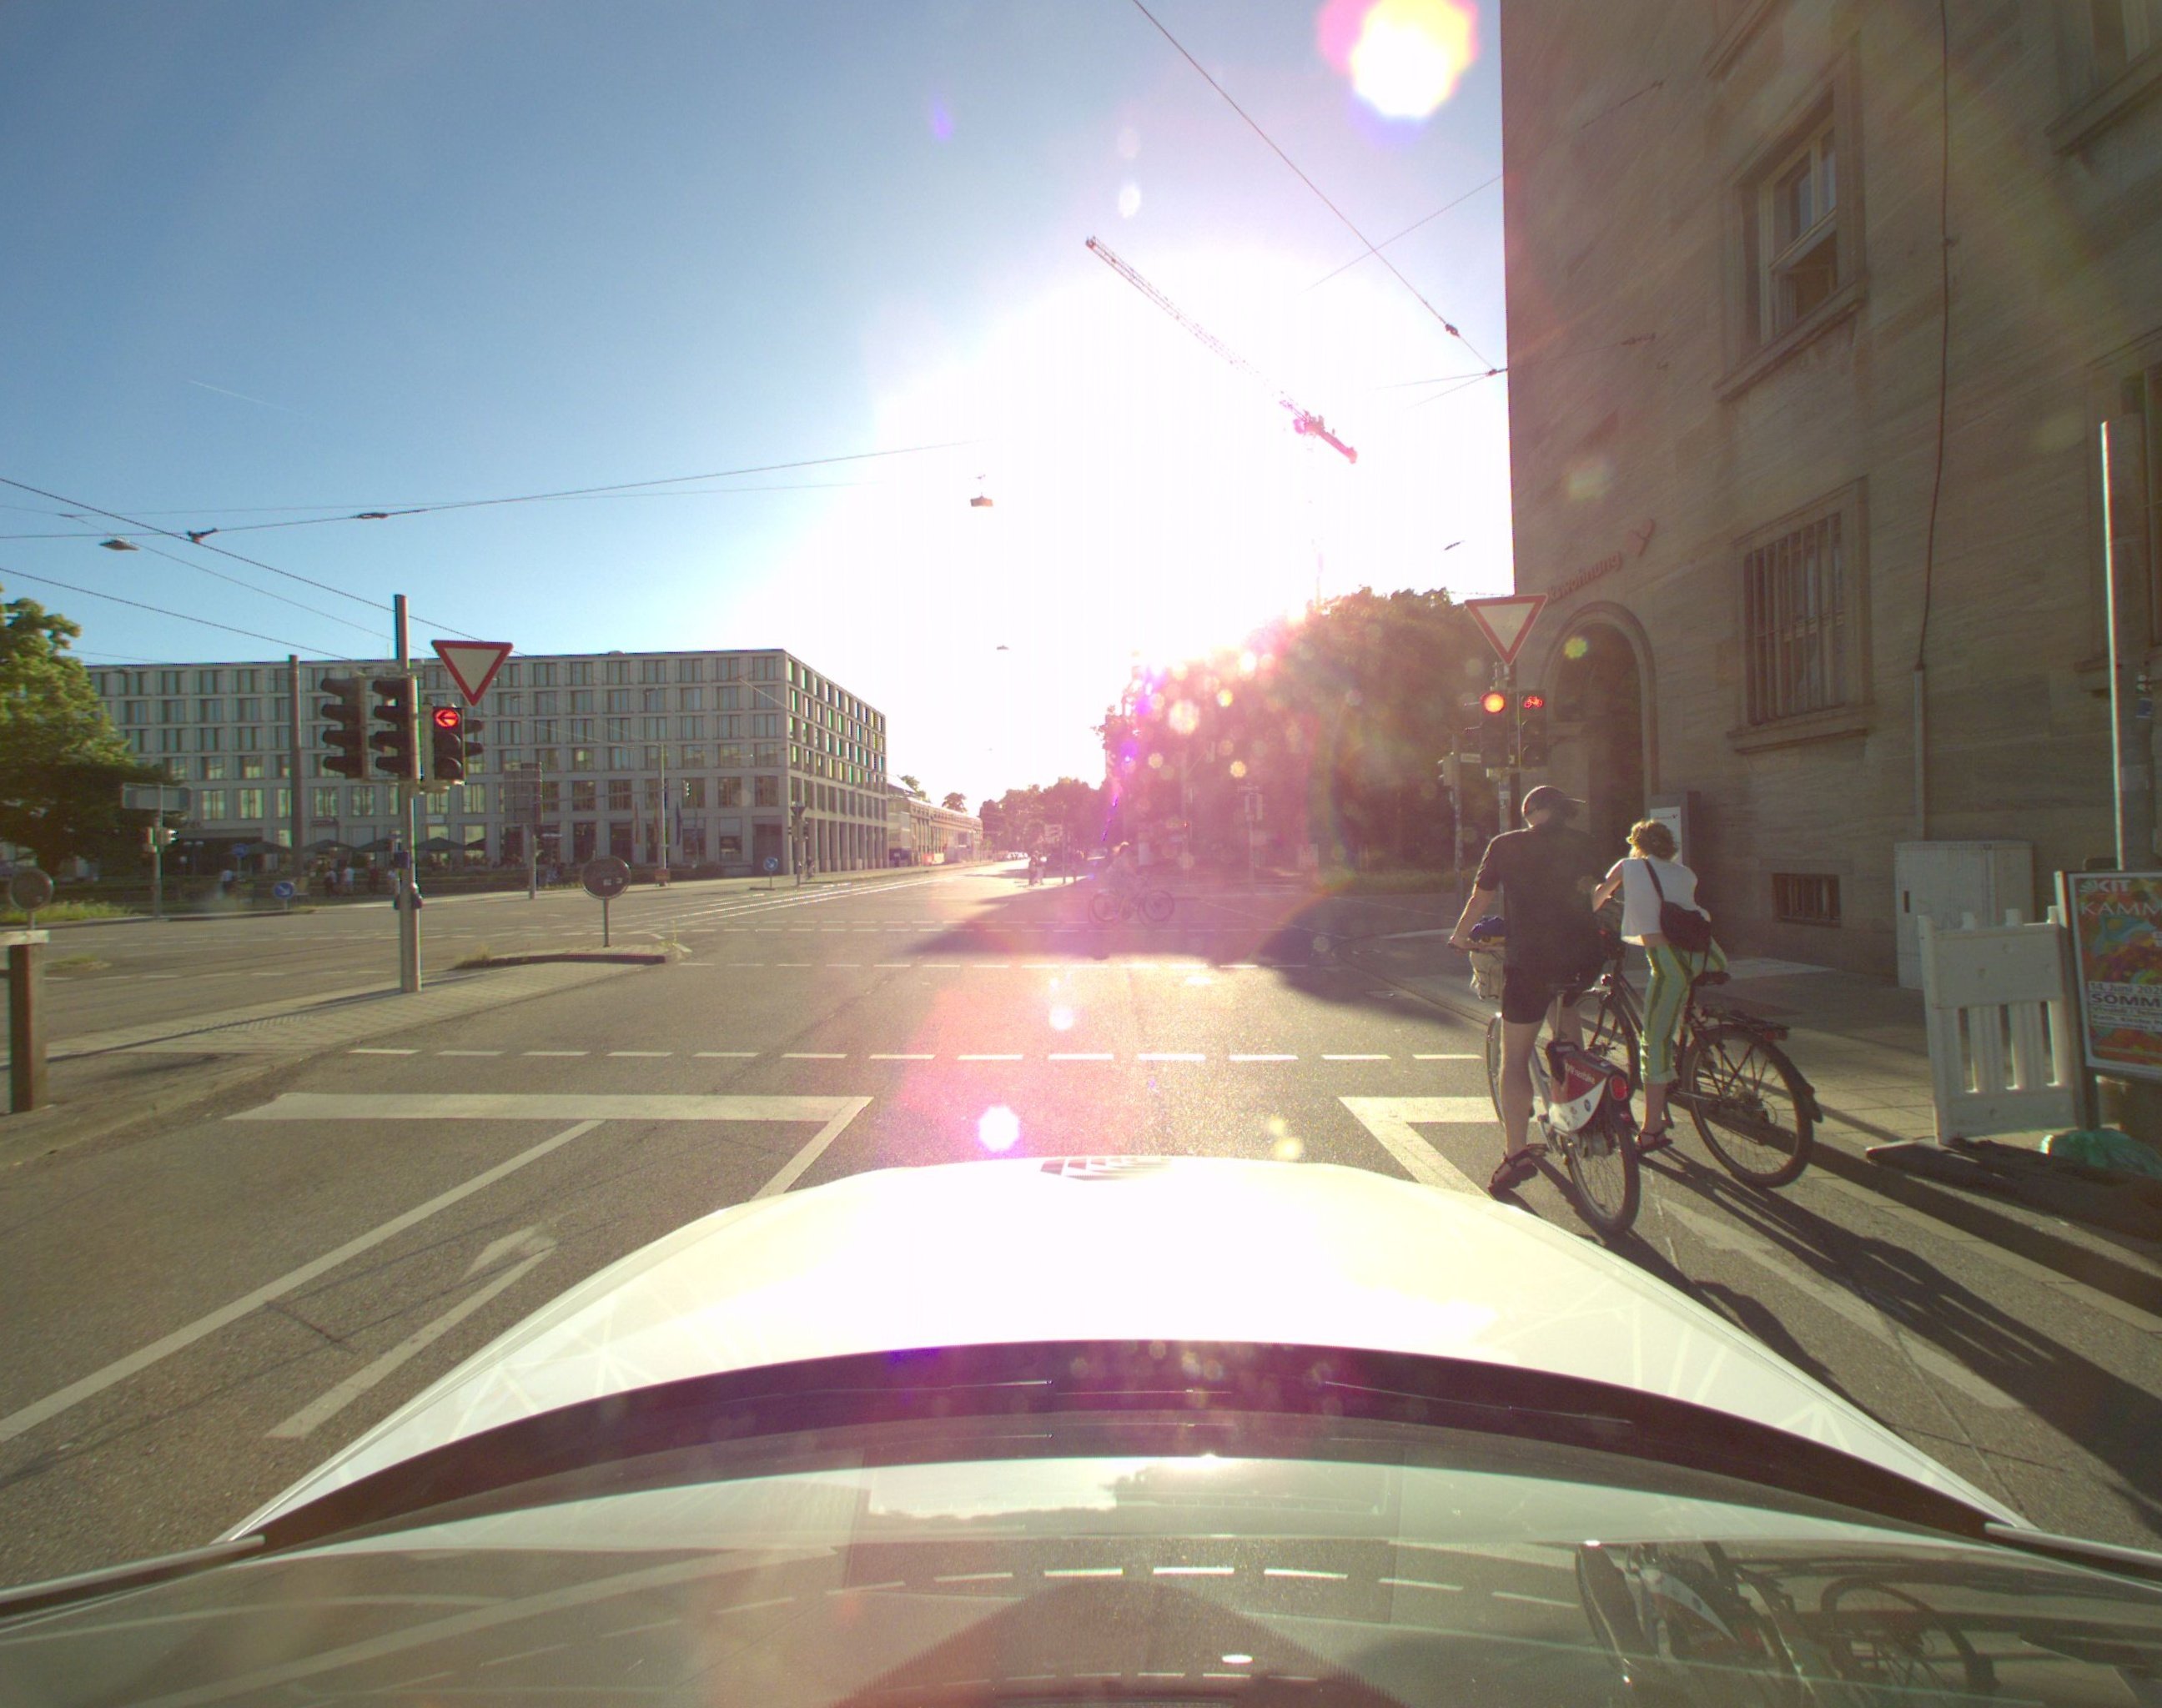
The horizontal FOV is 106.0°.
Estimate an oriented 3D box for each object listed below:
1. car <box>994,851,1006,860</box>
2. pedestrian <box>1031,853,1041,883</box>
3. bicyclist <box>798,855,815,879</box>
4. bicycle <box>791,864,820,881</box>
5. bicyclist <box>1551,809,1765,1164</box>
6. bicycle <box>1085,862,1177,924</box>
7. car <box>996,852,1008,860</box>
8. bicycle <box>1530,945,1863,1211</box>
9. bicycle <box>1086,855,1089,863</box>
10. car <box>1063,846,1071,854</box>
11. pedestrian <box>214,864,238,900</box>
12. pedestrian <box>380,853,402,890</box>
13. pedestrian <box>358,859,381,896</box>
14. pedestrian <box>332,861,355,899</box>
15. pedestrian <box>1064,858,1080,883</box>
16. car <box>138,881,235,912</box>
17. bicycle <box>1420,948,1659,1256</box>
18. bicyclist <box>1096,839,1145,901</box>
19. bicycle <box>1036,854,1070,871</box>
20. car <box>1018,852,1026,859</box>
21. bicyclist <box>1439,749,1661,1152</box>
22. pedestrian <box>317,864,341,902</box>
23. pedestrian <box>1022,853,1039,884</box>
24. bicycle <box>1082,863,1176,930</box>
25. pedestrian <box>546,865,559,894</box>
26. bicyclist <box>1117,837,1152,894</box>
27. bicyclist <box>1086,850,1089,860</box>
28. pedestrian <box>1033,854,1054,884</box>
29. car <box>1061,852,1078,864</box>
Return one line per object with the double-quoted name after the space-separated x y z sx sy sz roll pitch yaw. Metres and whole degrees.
-15.537 0.234 156.597 1.724 1.653 4.002 -2 0 2 "car"
-2.500 0.759 45.167 0.440 1.662 0.376 -2 0 1 "pedestrian"
-19.247 0.908 57.105 0.872 1.641 0.822 -2 0 3 "bicyclist"
-19.255 1.259 56.993 0.872 1.121 3.015 -2 0 3 "bicycle"
2.996 0.634 4.312 0.519 1.679 0.860 -2 0 5 "bicyclist"
1.109 0.860 18.294 1.979 1.291 0.792 -2 0 0 "bicycle"
-15.524 0.383 160.672 1.724 1.653 4.002 -2 0 2 "car"
3.090 1.042 4.357 0.424 0.876 1.953 -2 0 5 "bicycle"
0.815 0.604 98.682 0.323 0.868 1.482 -2 0 -1 "bicycle"
-3.608 -1.072 212.361 1.986 2.013 4.002 -2 0 2 "car"
-46.473 1.505 44.286 0.557 1.903 0.684 -2 0 10 "pedestrian"
-38.832 0.971 45.848 0.528 2.013 0.800 -2 0 -5 "pedestrian"
-39.545 1.293 45.273 0.528 2.013 0.800 -2 0 -5 "pedestrian"
-40.502 1.420 44.719 0.528 2.013 0.800 -2 0 -5 "pedestrian"
-0.478 0.895 44.270 0.749 1.332 0.743 -2 0 3 "pedestrian"
-46.891 2.197 42.740 3.182 1.438 1.467 -2 0 -8 "car"
2.107 1.035 4.005 0.387 0.905 1.956 -2 0 10 "bicycle"
0.807 0.324 16.904 0.922 1.218 0.796 -2 0 -1 "bicyclist"
-2.325 0.728 67.368 2.728 1.367 0.633 -1 -1 12 "bicycle"
-14.059 0.337 194.533 1.478 1.750 4.002 -2 0 2 "car"
2.118 0.408 3.770 0.665 1.678 0.659 -2 0 11 "bicyclist"
-40.425 1.555 43.784 0.528 2.013 0.800 -2 0 -5 "pedestrian"
-2.749 0.766 43.992 0.792 1.639 0.534 -2 0 4 "pedestrian"
0.978 0.869 16.907 1.846 1.291 0.791 -2 0 -2 "bicycle"
-38.173 1.837 58.852 0.606 2.013 0.391 -2 0 2 "pedestrian"
1.187 0.254 18.311 0.718 1.218 0.798 -2 0 1 "bicyclist"
0.800 0.138 98.631 0.317 1.127 0.291 -2 0 1 "bicyclist"
-2.000 0.802 43.452 0.980 1.587 0.661 -2 -1 3 "pedestrian"
-1.291 0.437 91.132 1.814 1.279 3.999 -2 0 0 "car"
